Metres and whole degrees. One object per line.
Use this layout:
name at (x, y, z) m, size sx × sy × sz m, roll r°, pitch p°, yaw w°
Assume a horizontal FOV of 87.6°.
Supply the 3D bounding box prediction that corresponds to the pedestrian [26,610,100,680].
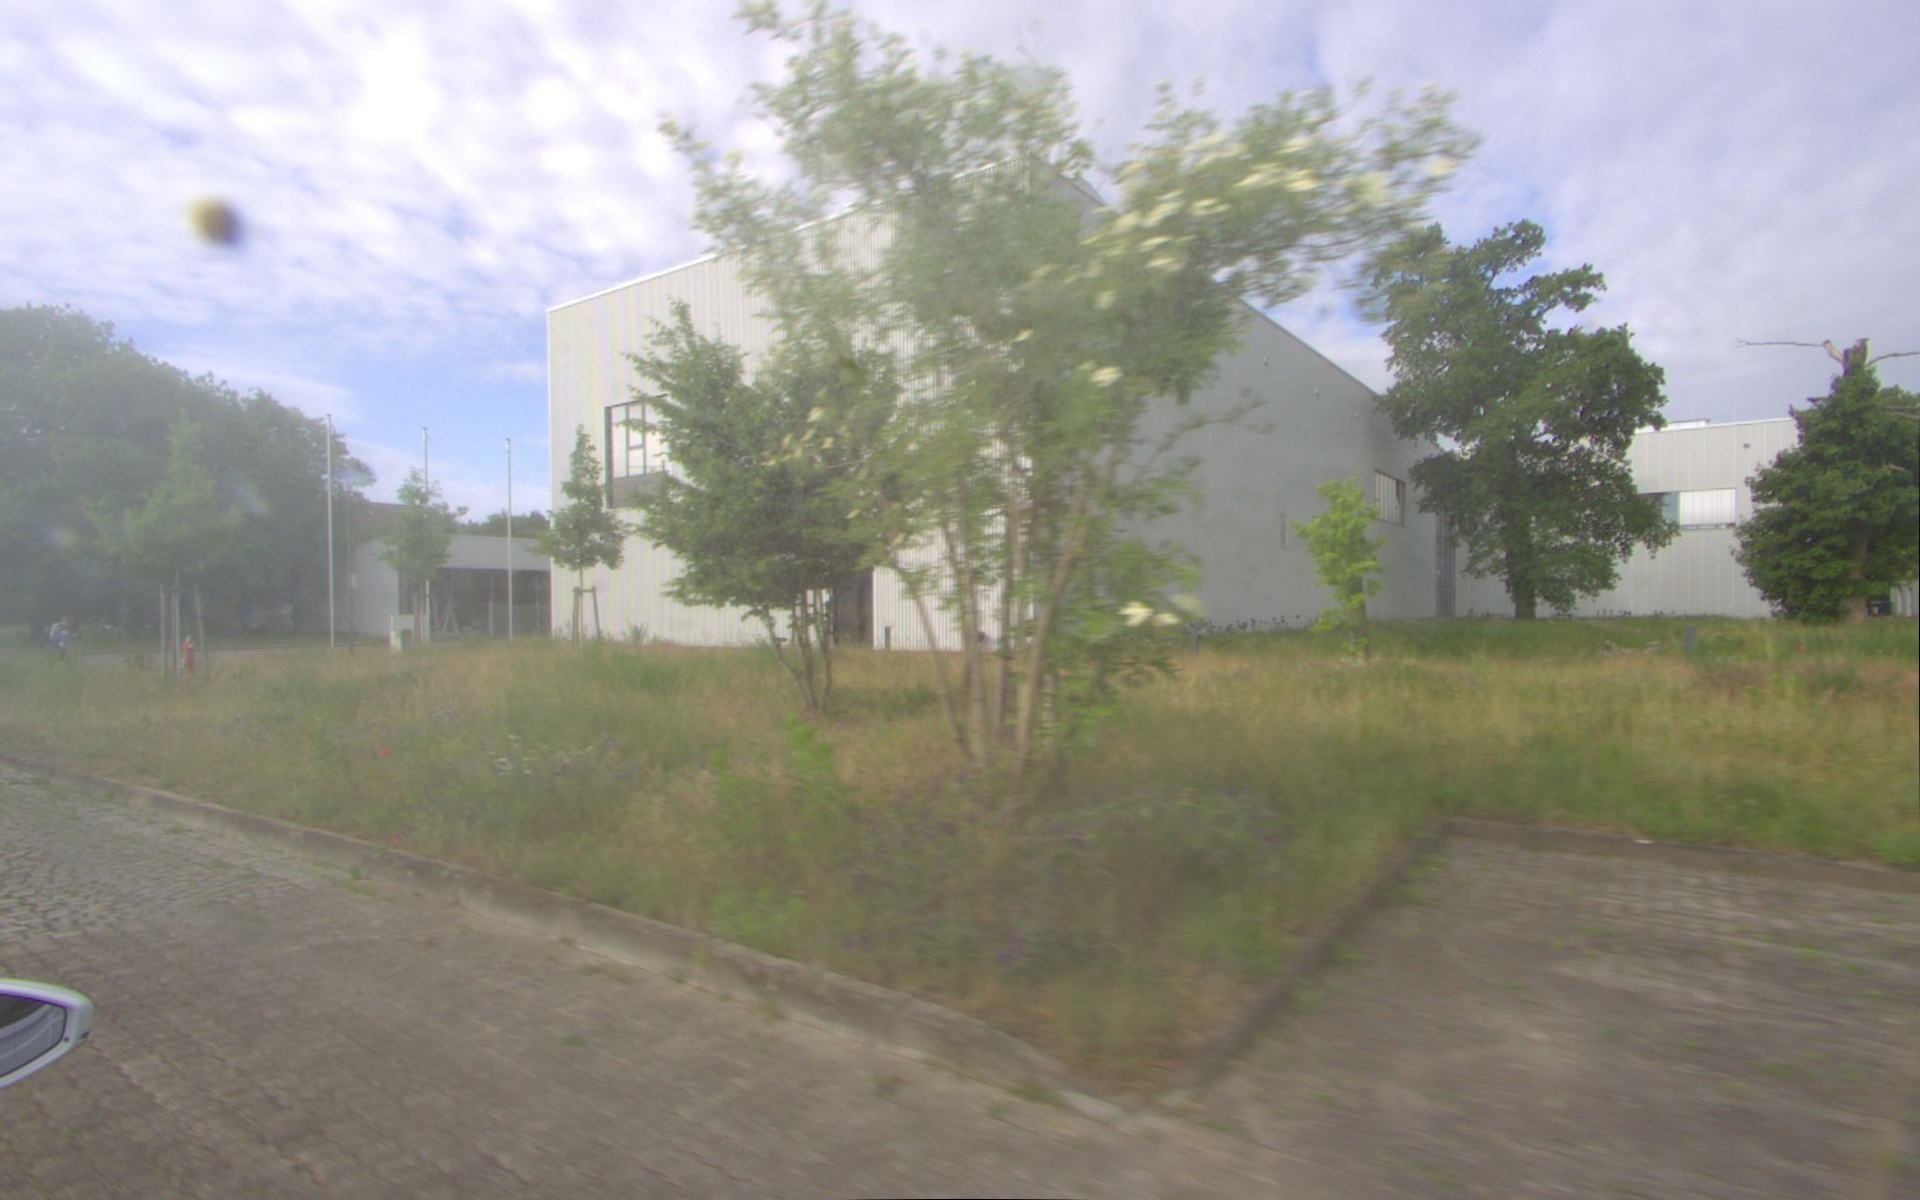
pedestrian at (-21.079, 1.034, 23.565) m, size 1.063 × 1.577 × 1.069 m, roll -1°, pitch 0°, yaw -30°

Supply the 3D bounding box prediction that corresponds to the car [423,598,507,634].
car at (-29.380, 0.930, 59.393) m, size 5.266 × 2.040 × 2.234 m, roll -1°, pitch 0°, yaw 36°
